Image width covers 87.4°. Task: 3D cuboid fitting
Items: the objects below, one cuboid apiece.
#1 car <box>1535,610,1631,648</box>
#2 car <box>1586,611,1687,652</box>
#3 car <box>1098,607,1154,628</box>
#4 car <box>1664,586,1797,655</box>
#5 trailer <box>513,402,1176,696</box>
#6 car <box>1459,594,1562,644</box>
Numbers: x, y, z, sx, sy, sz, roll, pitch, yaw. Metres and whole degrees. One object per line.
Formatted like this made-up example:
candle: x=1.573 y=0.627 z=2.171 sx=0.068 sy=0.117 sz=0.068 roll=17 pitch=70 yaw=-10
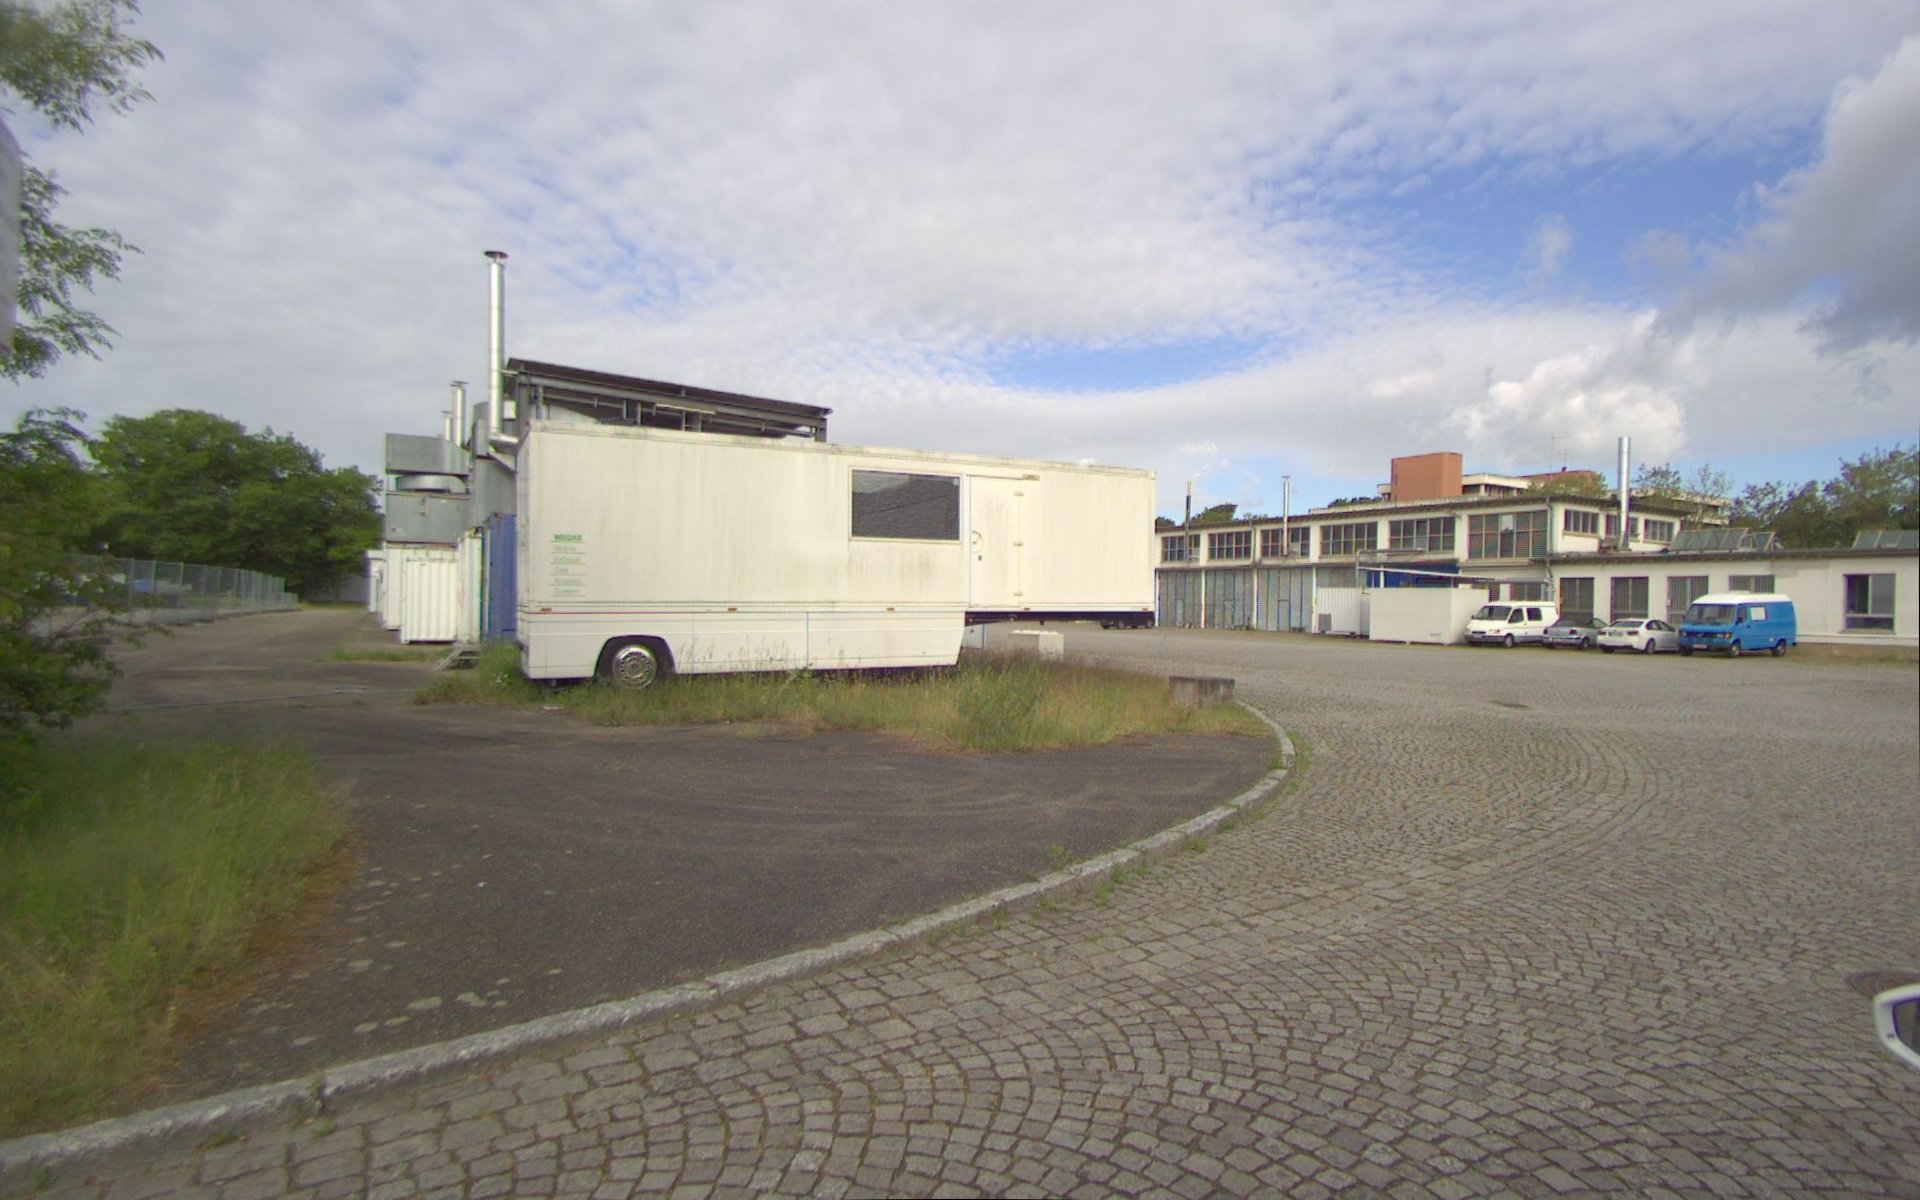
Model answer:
car: x=27.410 y=1.266 z=44.185 sx=3.951 sy=1.596 sz=1.892 roll=1 pitch=0 yaw=-29
car: x=27.882 y=1.288 z=41.375 sx=3.951 sy=1.596 sz=1.892 roll=1 pitch=0 yaw=-29
car: x=11.530 y=1.202 z=69.808 sx=3.680 sy=1.429 sz=1.657 roll=1 pitch=0 yaw=-31
car: x=30.324 y=0.804 z=39.515 sx=5.546 sy=2.557 sz=1.986 roll=1 pitch=0 yaw=-27
trailer: x=-1.454 y=-0.560 z=16.506 sx=10.587 sy=3.755 sz=2.646 roll=1 pitch=0 yaw=-28
car: x=25.532 y=0.895 z=46.557 sx=4.722 sy=2.236 sz=1.893 roll=1 pitch=0 yaw=-28
